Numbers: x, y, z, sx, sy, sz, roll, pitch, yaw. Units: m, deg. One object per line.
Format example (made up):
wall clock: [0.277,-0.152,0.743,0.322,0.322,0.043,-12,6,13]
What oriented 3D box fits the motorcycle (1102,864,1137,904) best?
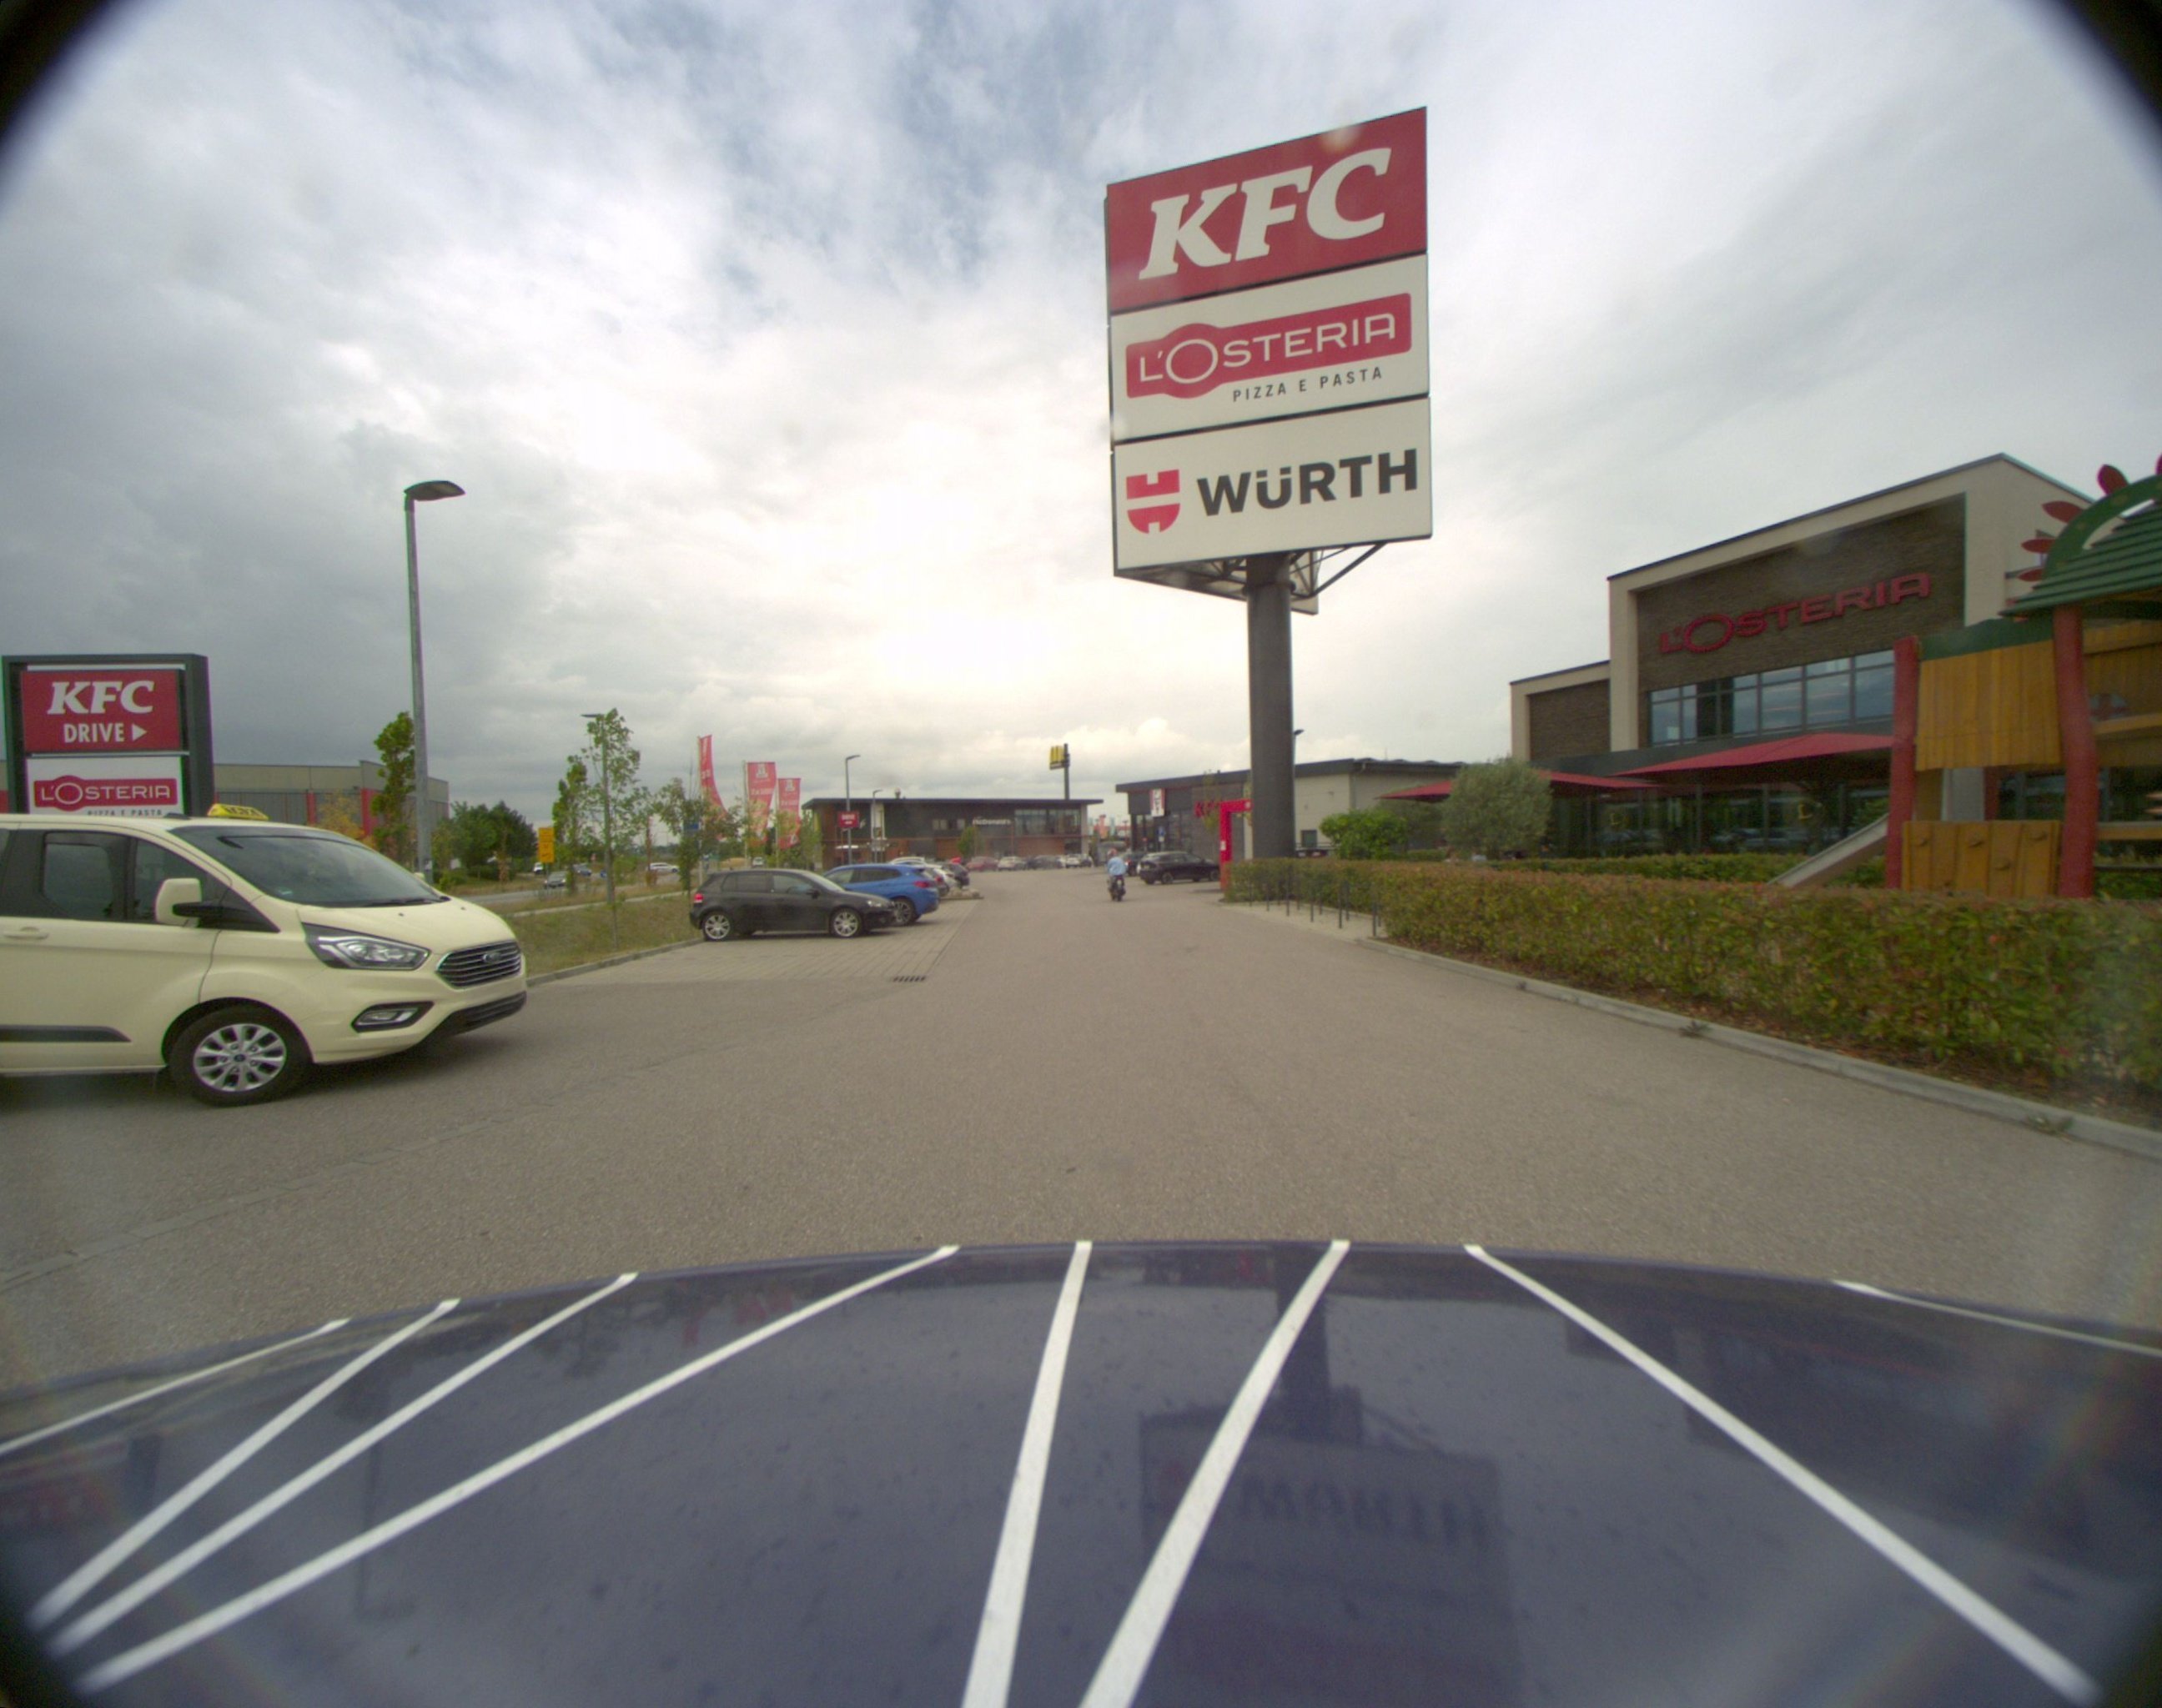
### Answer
motorcycle: [1.262,0.959,25.112,0.795,1.201,1.920,-3,1,-6]

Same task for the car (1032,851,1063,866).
car: [-3.373,0.466,76.519,1.684,1.454,4.413,-2,0,17]

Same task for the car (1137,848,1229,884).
car: [5.002,0.564,37.139,4.128,1.519,1.738,-3,2,-25]

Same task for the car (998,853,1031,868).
car: [-6.509,0.635,75.044,1.750,1.403,4.465,-2,0,14]

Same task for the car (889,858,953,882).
car: [-11.180,1.092,53.017,4.074,1.404,1.885,-4,1,-21]

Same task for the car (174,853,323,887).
car: [-57.390,1.036,52.584,6.514,2.254,2.340,0,0,-25]

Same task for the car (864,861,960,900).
car: [-7.354,1.132,33.369,3.939,1.404,1.838,-3,1,-9]

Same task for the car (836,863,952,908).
car: [-6.955,1.153,28.608,3.999,1.420,1.726,-3,1,-6]

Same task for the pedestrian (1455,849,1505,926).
pedestrian: [9.182,0.756,17.502,0.704,1.738,0.742,0,1,-6]

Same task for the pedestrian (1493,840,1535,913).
pedestrian: [10.706,0.541,18.794,0.744,1.738,0.702,-1,1,-44]

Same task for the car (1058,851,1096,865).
car: [-0.458,0.483,87.541,4.103,1.458,1.783,-2,-2,15]

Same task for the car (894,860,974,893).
car: [-7.382,1.111,38.240,3.809,1.404,1.736,-3,1,-12]

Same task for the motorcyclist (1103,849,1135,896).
motorcyclist: [1.247,0.609,25.114,0.830,1.480,0.941,-3,1,-5]

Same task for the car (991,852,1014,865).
car: [-10.552,0.619,102.123,1.755,1.743,3.991,0,0,-27]

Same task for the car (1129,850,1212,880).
car: [5.019,0.594,42.648,4.184,1.477,1.996,-2,0,-24]

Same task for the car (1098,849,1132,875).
car: [3.624,0.790,78.766,2.069,2.538,7.021,-2,0,15]

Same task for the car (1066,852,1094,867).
car: [-0.058,0.519,78.160,1.684,1.443,4.006,-2,0,19]

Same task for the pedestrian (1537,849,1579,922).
pedestrian: [11.731,0.751,18.696,0.744,1.738,0.702,-1,1,-44]

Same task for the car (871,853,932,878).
car: [-14.146,0.881,59.909,4.376,1.703,1.989,-4,1,-21]

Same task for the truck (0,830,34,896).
truck: [-54.080,0.444,33.665,3.023,3.177,8.442,0,0,15]

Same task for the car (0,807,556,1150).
car: [-7.253,0.788,5.545,5.230,2.074,1.998,-1,0,-9]

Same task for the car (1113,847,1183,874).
car: [4.227,0.407,47.930,3.944,1.478,1.755,-4,1,-24]

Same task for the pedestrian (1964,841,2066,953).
pedestrian: [14.938,0.670,12.169,0.742,1.738,0.703,0,1,-1]

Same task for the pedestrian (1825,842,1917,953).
pedestrian: [12.714,0.683,12.246,0.742,1.738,0.703,0,1,-1]

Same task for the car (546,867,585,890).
car: [-43.218,2.014,63.734,2.002,1.696,3.991,-1,1,-24]

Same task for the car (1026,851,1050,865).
car: [-5.651,0.544,99.673,1.894,1.653,4.262,0,3,15]

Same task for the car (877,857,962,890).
car: [-9.176,1.056,43.193,4.547,1.532,1.923,-3,1,-14]

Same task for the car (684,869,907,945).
car: [-5.936,1.078,16.204,4.072,1.451,1.776,-1,0,-2]

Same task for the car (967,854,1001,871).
car: [-9.408,0.809,73.871,1.684,1.455,4.006,-2,0,19]

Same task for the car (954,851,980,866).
car: [-14.378,0.573,95.658,1.997,1.739,4.004,0,-1,11]

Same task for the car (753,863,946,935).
car: [-5.606,1.064,18.832,4.214,1.535,1.864,-2,1,-4]

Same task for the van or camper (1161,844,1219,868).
van or camper: [13.251,0.277,92.706,6.558,2.685,2.176,-3,0,23]
